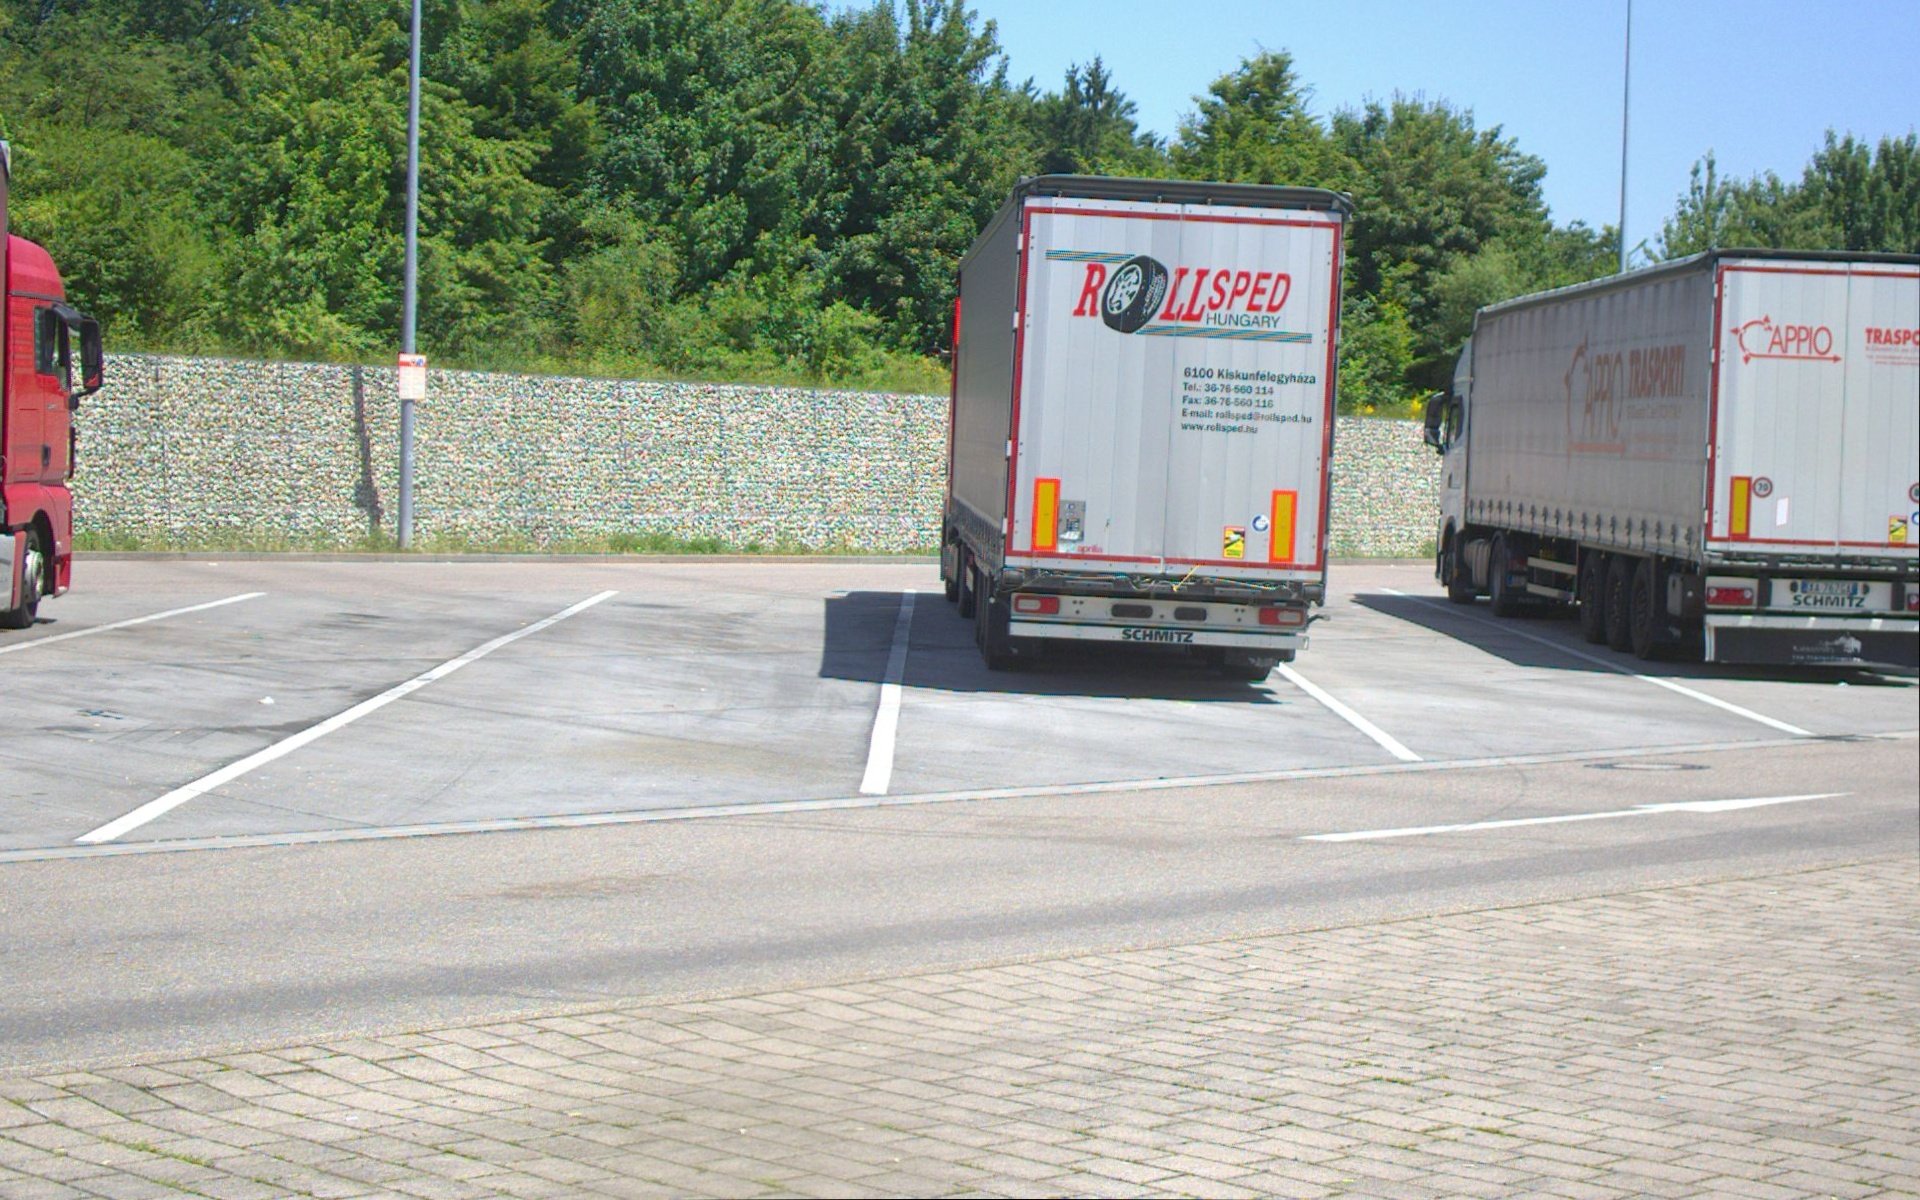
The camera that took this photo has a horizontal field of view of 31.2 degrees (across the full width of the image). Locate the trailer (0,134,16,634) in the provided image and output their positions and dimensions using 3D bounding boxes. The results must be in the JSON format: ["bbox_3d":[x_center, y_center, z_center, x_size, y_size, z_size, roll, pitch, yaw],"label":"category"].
[{"bbox_3d":[-9.156,-1.467,21.385,2.821,4.057,13.765,2,3,-1],"label":"trailer"}]

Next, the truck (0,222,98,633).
[{"bbox_3d":[-9.244,-1.457,28.205,2.812,3.351,5.975,2,3,-1],"label":"truck"}]

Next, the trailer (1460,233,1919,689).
[{"bbox_3d":[8.194,-1.589,38.383,2.858,4.095,13.765,2,3,-1],"label":"trailer"}]

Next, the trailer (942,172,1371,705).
[{"bbox_3d":[1.466,-1.569,33.128,2.858,3.958,13.765,2,3,-1],"label":"trailer"}]

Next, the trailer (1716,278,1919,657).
[{"bbox_3d":[11.791,-1.505,39.396,2.858,4.095,13.765,2,3,-1],"label":"trailer"}]

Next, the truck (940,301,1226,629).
[{"bbox_3d":[1.281,-1.574,39.330,2.865,3.351,5.975,2,3,-1],"label":"truck"}]

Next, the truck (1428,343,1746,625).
[{"bbox_3d":[8.091,-1.569,45.149,2.865,3.351,5.975,2,3,-1],"label":"truck"}]
